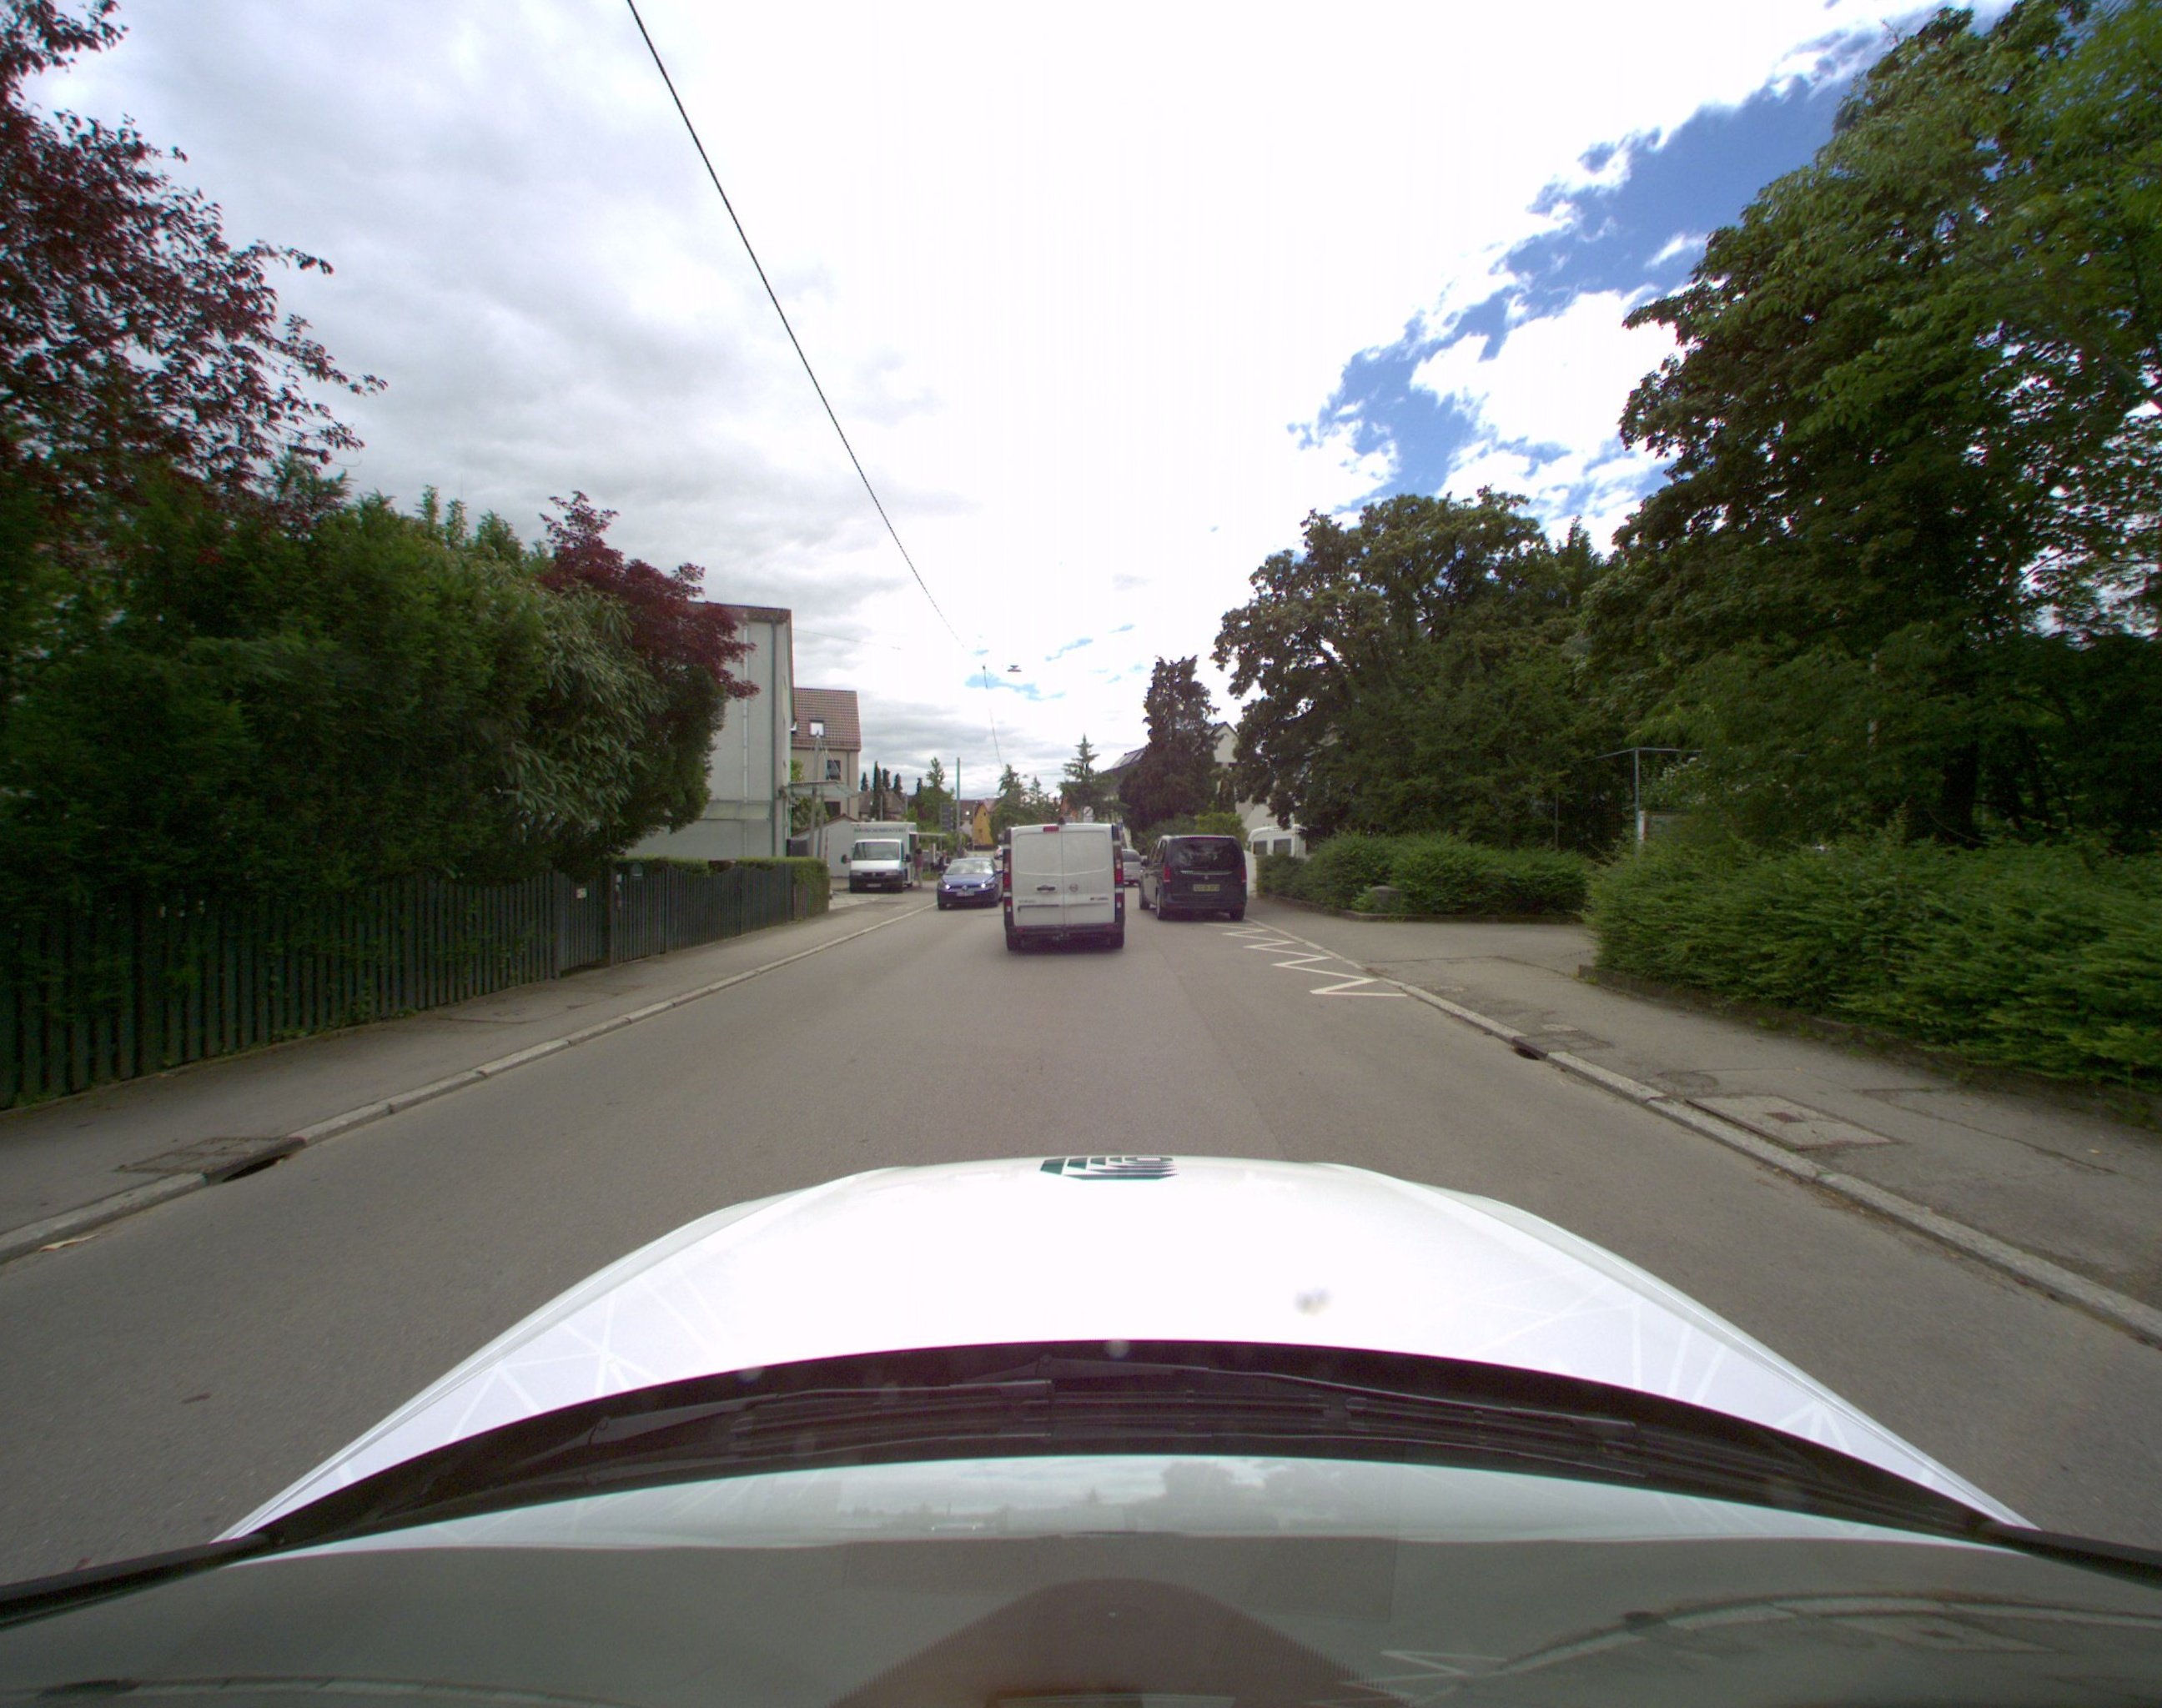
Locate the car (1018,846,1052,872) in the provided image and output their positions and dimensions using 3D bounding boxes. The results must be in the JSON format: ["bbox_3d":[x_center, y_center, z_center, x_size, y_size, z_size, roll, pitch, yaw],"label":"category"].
[{"bbox_3d":[-3.398,0.347,59.760,1.994,1.848,3.986,-1,0,-10],"label":"car"}]

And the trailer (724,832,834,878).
[{"bbox_3d":[-15.151,0.043,41.010,4.860,2.080,1.699,2,1,-9],"label":"trailer"}]

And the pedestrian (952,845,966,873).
[{"bbox_3d":[-8.523,0.361,57.025,0.731,1.946,1.216,2,-1,-2],"label":"pedestrian"}]

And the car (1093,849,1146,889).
[{"bbox_3d":[1.634,0.618,35.706,1.757,1.582,4.010,-1,0,-6],"label":"car"}]

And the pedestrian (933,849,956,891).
[{"bbox_3d":[-5.673,0.648,33.820,0.721,1.687,1.108,2,-1,-2],"label":"pedestrian"}]

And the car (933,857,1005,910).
[{"bbox_3d":[-3.282,0.815,24.586,1.689,1.432,3.925,-1,0,-1],"label":"car"}]

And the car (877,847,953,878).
[{"bbox_3d":[-10.085,0.533,49.527,4.321,1.695,1.788,2,0,-17],"label":"car"}]

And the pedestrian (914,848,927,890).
[{"bbox_3d":[-6.635,0.629,33.640,0.400,1.695,0.596,2,-1,-8],"label":"pedestrian"}]

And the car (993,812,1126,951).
[{"bbox_3d":[-0.408,0.398,14.082,1.911,2.002,4.433,-1,0,-3],"label":"car"}]

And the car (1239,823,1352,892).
[{"bbox_3d":[9.047,0.142,34.941,2.501,2.682,5.162,2,0,-14],"label":"car"}]

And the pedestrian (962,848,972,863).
[{"bbox_3d":[-11.452,0.167,81.856,0.881,1.485,0.451,2,-1,-30],"label":"pedestrian"}]

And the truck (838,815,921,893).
[{"bbox_3d":[-8.027,0.004,33.177,2.471,2.840,6.691,0,0,-7],"label":"truck"}]

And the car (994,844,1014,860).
[{"bbox_3d":[-8.915,-0.186,94.192,1.994,1.782,3.986,-1,0,-10],"label":"car"}]

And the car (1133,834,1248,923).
[{"bbox_3d":[2.441,0.525,19.543,1.904,1.848,5.153,0,0,-2],"label":"car"}]
